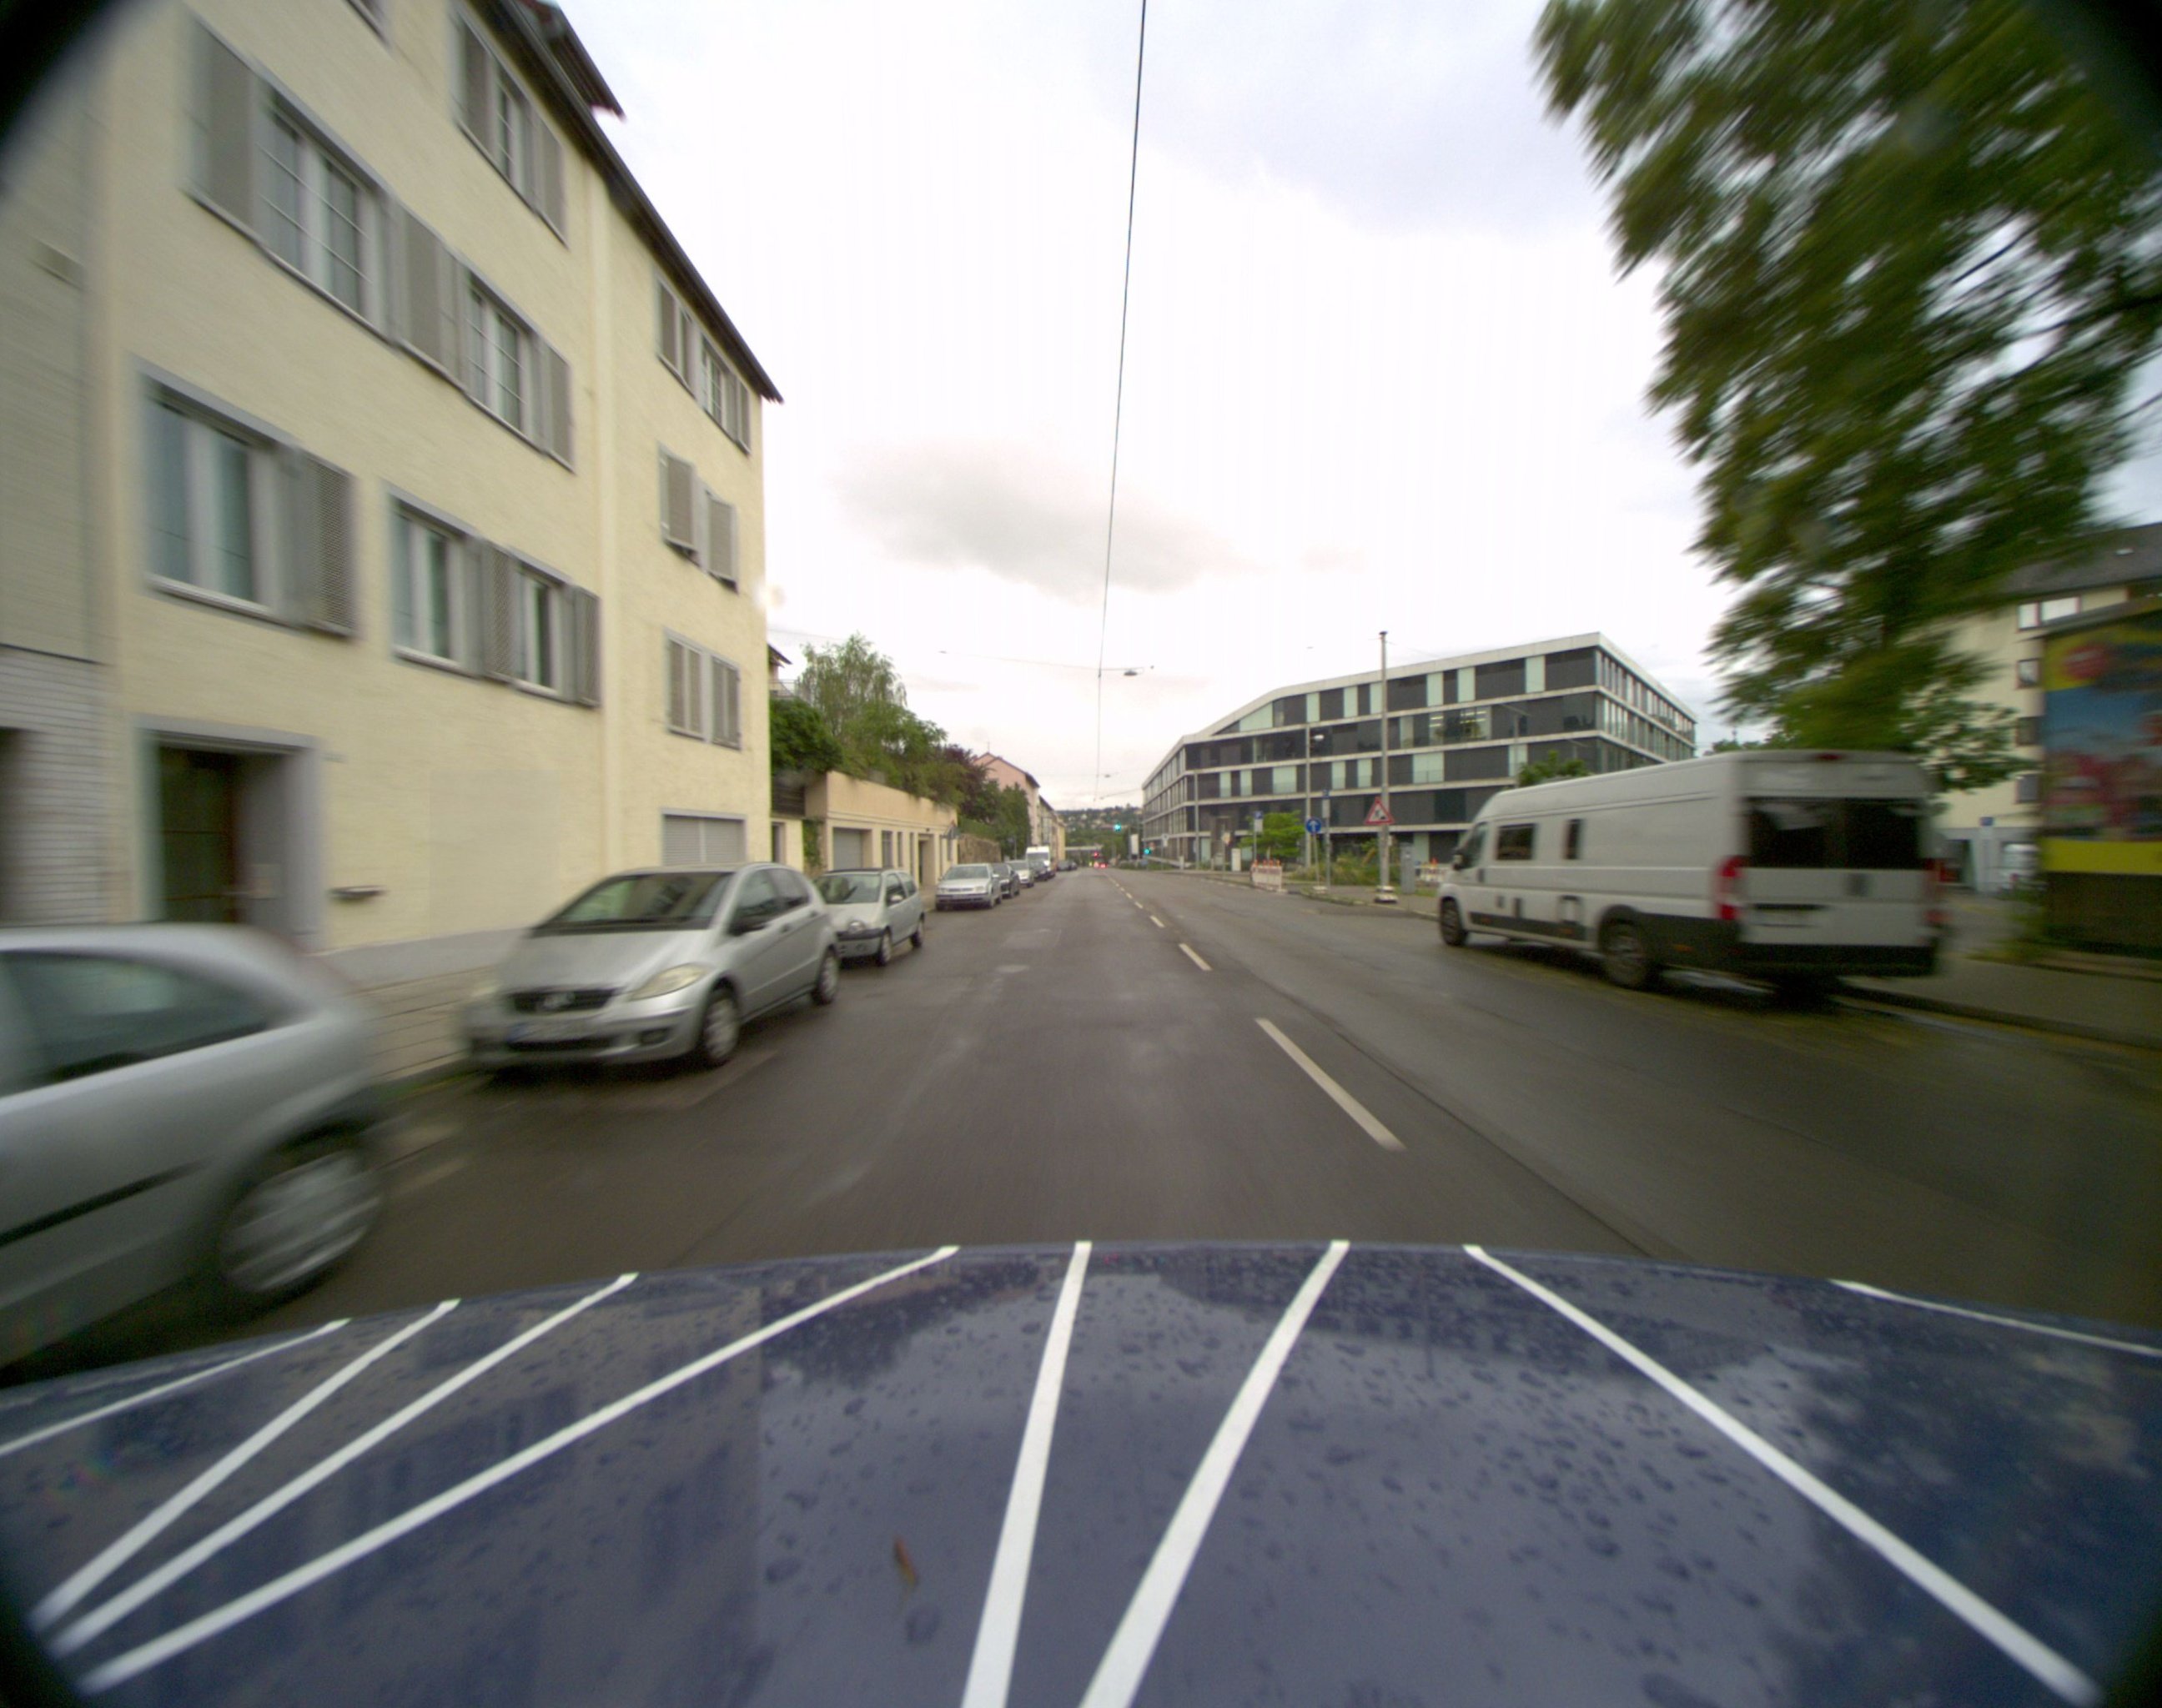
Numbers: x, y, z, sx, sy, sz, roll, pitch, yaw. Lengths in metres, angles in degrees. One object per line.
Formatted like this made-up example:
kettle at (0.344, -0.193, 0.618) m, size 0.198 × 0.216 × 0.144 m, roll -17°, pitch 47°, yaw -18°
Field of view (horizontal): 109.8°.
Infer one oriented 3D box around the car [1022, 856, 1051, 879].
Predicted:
car at (-3.068, 0.908, 52.989) m, size 1.693 × 1.445 × 4.235 m, roll -2°, pitch 0°, yaw 0°

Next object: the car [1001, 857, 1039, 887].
car at (-3.283, 0.944, 41.613) m, size 1.693 × 1.445 × 4.235 m, roll -2°, pitch 0°, yaw 0°

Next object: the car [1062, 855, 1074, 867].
car at (-1.995, 1.076, 116.127) m, size 1.630 × 1.740 × 3.778 m, roll -2°, pitch 0°, yaw 1°

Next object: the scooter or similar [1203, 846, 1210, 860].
scooter or similar at (11.803, -0.100, 71.620) m, size 0.497 × 1.241 × 1.231 m, roll -2°, pitch 1°, yaw 2°

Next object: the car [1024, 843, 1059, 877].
car at (-3.019, 0.456, 59.884) m, size 2.211 × 2.449 × 6.079 m, roll -2°, pitch 0°, yaw 1°

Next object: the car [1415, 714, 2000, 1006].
car at (6.977, 0.028, 9.994) m, size 2.236 × 2.564 × 6.536 m, roll 1°, pitch 1°, yaw 0°

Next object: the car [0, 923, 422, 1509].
car at (-3.662, 1.037, 1.286) m, size 1.630 × 1.403 × 3.842 m, roll -2°, pitch 0°, yaw 1°

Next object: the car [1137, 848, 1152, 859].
car at (8.995, -0.072, 107.696) m, size 1.641 × 1.458 × 3.583 m, roll -1°, pitch 0°, yaw -1°

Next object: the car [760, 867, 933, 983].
car at (-3.589, 1.008, 12.328) m, size 1.562 × 1.445 × 3.759 m, roll -2°, pitch 0°, yaw 0°

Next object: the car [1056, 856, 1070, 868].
car at (-2.611, 1.117, 109.045) m, size 1.796 × 1.511 × 4.512 m, roll -2°, pitch 0°, yaw 1°

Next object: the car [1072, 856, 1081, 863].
car at (-0.879, 1.221, 158.141) m, size 1.630 × 1.402 × 3.778 m, roll -2°, pitch 0°, yaw 1°

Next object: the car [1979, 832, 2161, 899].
car at (38.833, 0.413, 28.867) m, size 5.715 × 2.399 × 2.680 m, roll 1°, pitch 0°, yaw 42°

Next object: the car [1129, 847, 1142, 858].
car at (8.896, -0.243, 124.237) m, size 1.887 × 1.580 × 4.363 m, roll -3°, pitch 0°, yaw 3°

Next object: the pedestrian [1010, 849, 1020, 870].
pedestrian at (-5.500, 0.466, 63.713) m, size 0.725 × 1.705 × 0.905 m, roll 1°, pitch 1°, yaw 2°

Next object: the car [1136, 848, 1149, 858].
car at (9.071, -0.124, 112.267) m, size 1.641 × 1.458 × 3.584 m, roll -1°, pitch 0°, yaw 2°

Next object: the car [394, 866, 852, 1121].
car at (-3.597, 0.949, 6.974) m, size 1.720 × 1.516 × 3.999 m, roll -2°, pitch 0°, yaw 0°

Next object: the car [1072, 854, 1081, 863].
car at (-0.935, 1.001, 171.878) m, size 1.911 × 1.865 × 4.750 m, roll -2°, pitch 0°, yaw 1°

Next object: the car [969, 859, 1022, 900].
car at (-3.353, 0.962, 30.490) m, size 1.633 × 1.445 × 3.759 m, roll -2°, pitch 0°, yaw 0°

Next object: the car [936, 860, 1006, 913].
car at (-3.443, 0.972, 24.423) m, size 1.633 × 1.445 × 3.759 m, roll -2°, pitch 0°, yaw 0°

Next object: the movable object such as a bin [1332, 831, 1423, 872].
movable object such as a bin at (18.862, -0.170, 48.523) m, size 1.674 × 2.445 × 5.274 m, roll -2°, pitch 1°, yaw -39°

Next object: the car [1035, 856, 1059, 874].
car at (-2.953, 0.927, 66.433) m, size 1.725 × 1.413 × 4.203 m, roll -2°, pitch 0°, yaw 2°
